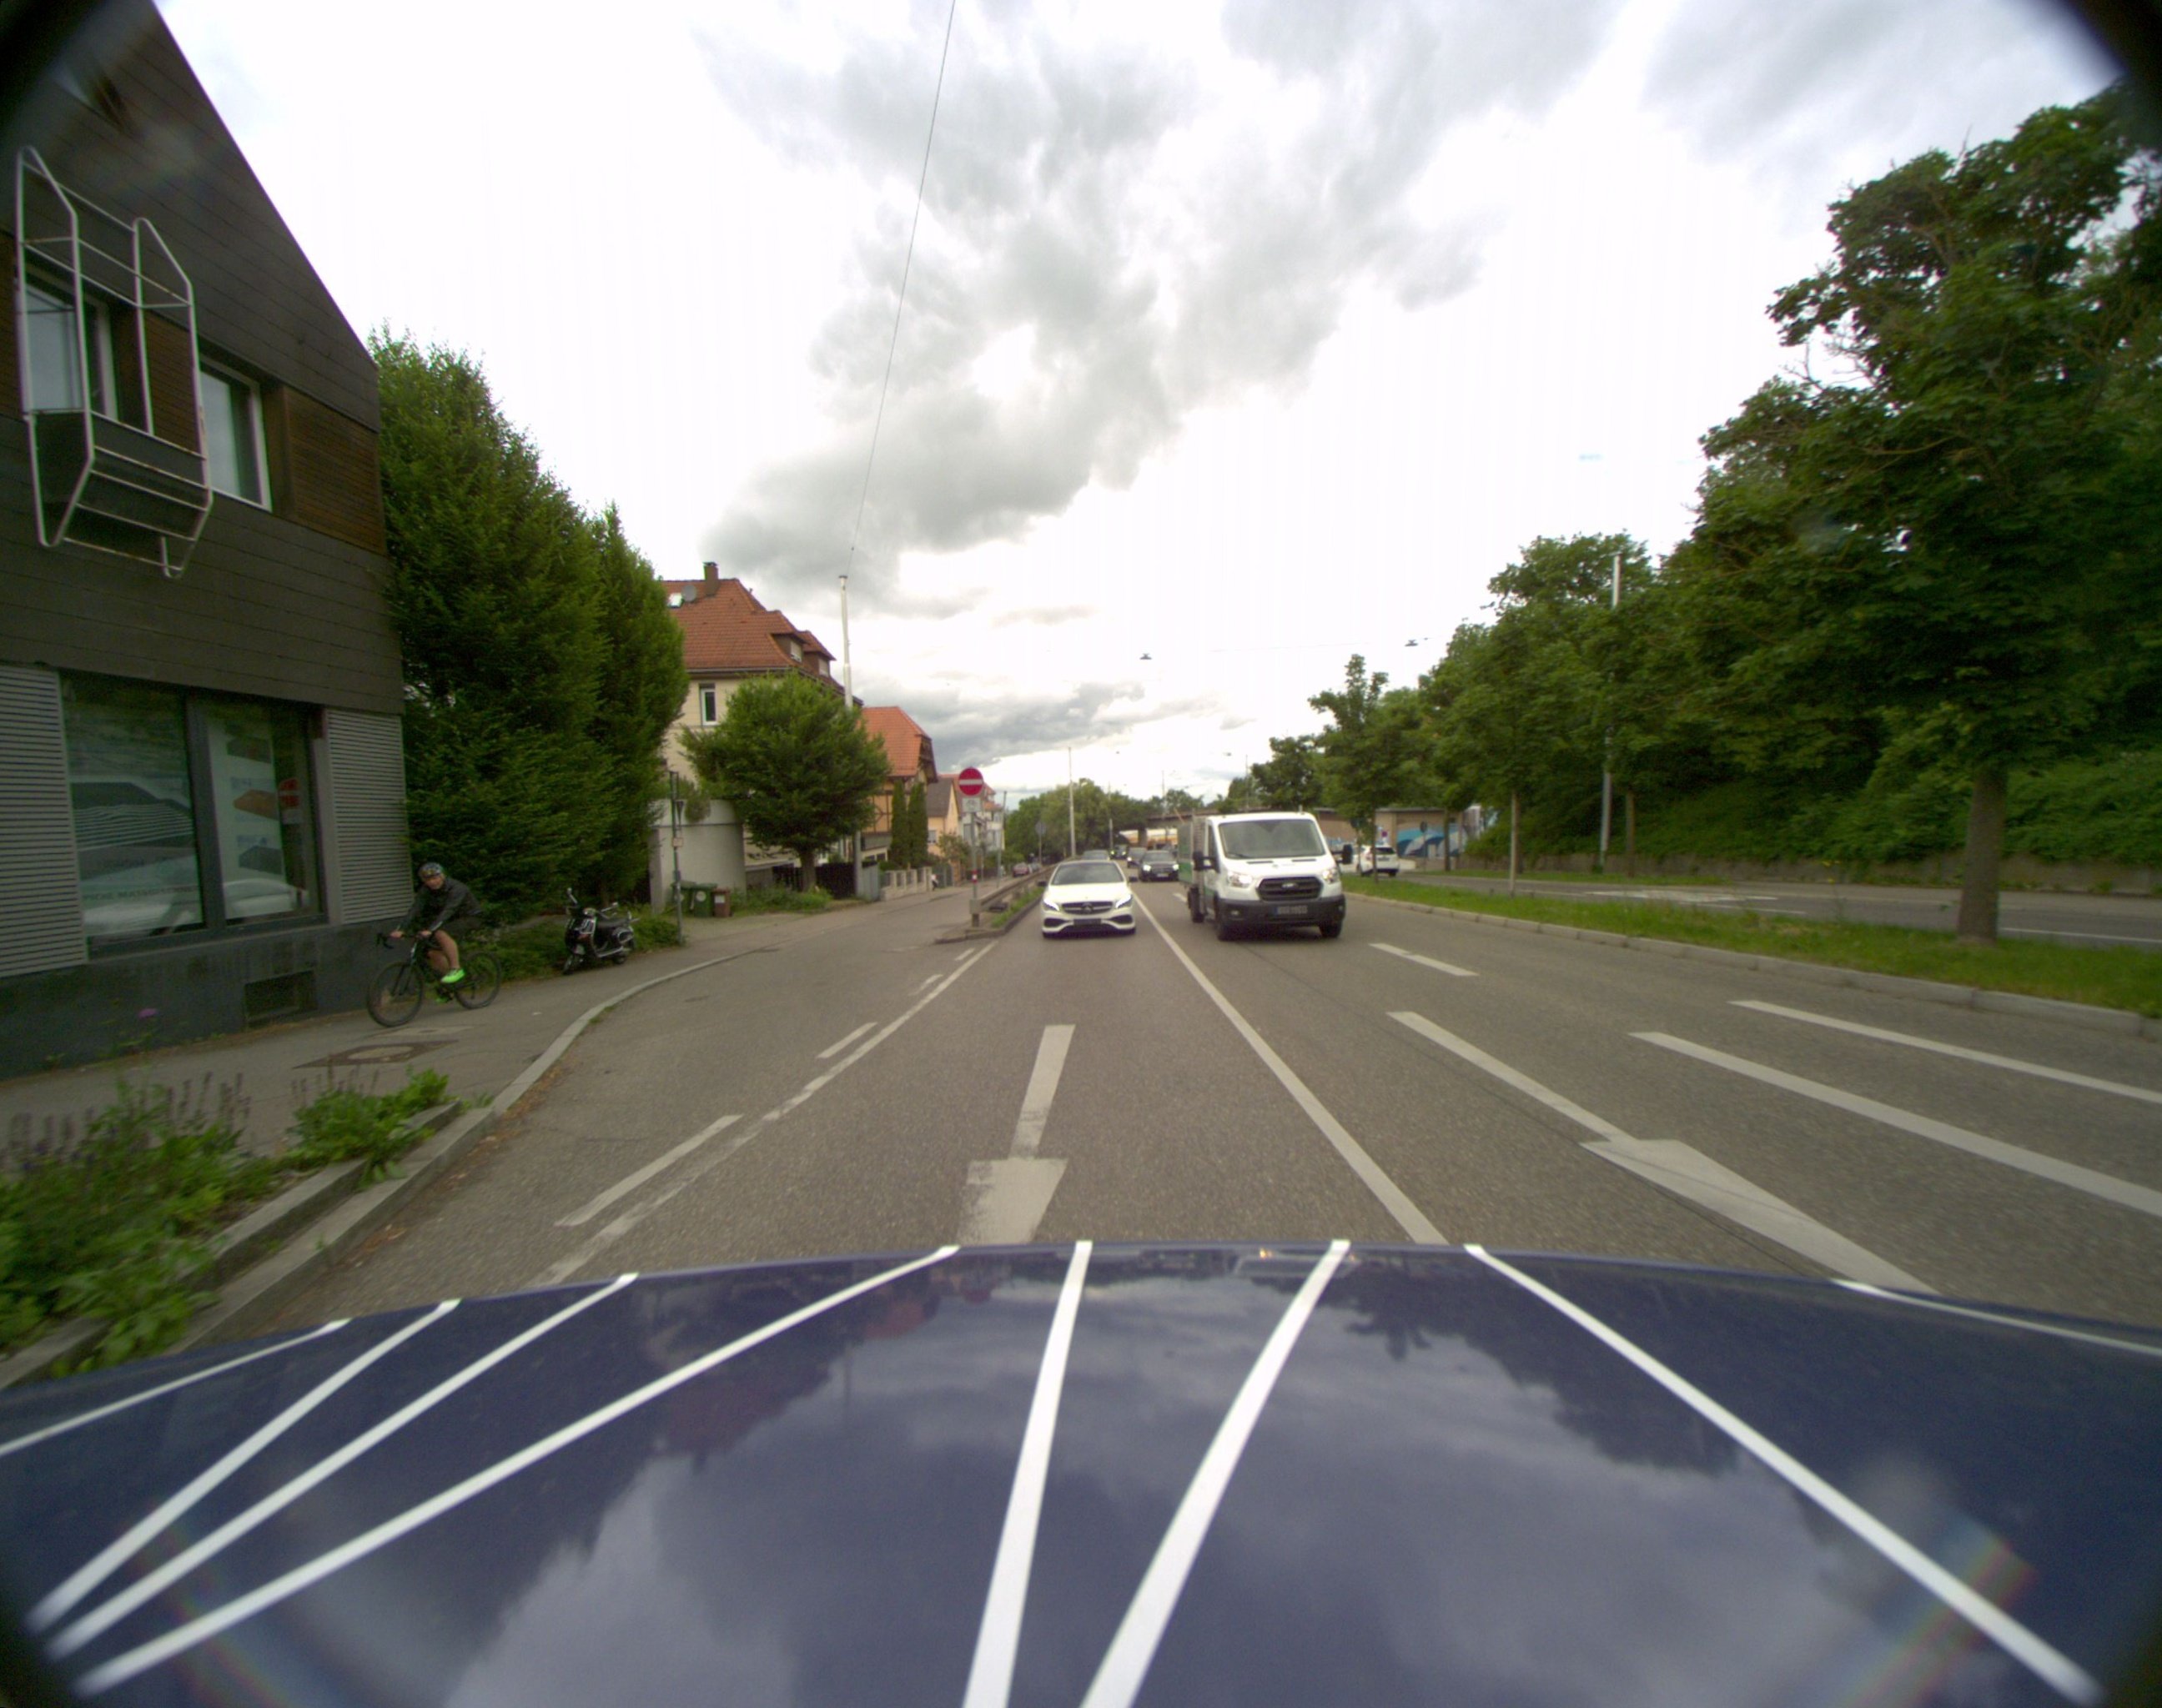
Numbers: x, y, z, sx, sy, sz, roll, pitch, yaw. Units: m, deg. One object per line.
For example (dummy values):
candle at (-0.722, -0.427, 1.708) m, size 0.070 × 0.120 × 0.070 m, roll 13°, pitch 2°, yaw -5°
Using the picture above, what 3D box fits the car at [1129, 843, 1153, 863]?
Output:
car at (4.897, -0.095, 62.230) m, size 1.777 × 1.520 × 4.000 m, roll -1°, pitch 0°, yaw 2°

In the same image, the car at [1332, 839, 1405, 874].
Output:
car at (14.270, 0.127, 37.954) m, size 1.784 × 1.551 × 4.458 m, roll -2°, pitch 0°, yaw -2°

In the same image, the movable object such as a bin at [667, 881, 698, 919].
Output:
movable object such as a bin at (-12.300, 1.414, 23.477) m, size 0.543 × 1.074 × 0.656 m, roll 5°, pitch 0°, yaw 0°

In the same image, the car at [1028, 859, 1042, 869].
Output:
car at (-7.121, 1.570, 117.555) m, size 1.851 × 1.354 × 3.999 m, roll -2°, pitch 0°, yaw -1°

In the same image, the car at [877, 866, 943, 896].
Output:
car at (-10.741, 1.686, 47.690) m, size 3.799 × 1.396 × 1.544 m, roll -7°, pitch 1°, yaw -18°

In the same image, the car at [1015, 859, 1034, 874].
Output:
car at (-6.744, 1.451, 91.229) m, size 1.923 × 1.641 × 4.000 m, roll -3°, pitch 0°, yaw -1°

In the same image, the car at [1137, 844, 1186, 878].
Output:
car at (3.854, 0.343, 37.173) m, size 1.915 × 1.472 × 4.400 m, roll -3°, pitch 0°, yaw 0°

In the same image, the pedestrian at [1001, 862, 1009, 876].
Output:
pedestrian at (-8.672, 1.707, 86.519) m, size 0.713 × 1.462 × 0.695 m, roll -3°, pitch 0°, yaw -1°

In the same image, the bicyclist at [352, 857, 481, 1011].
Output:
bicyclist at (-7.450, 0.854, 8.568) m, size 0.539 × 1.624 × 0.947 m, roll -2°, pitch 0°, yaw 0°

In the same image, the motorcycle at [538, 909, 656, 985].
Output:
motorcycle at (-8.174, 1.539, 12.961) m, size 0.697 × 1.045 × 1.967 m, roll -1°, pitch 0°, yaw 2°

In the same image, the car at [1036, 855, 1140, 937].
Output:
car at (0.197, 0.759, 15.602) m, size 1.817 × 1.390 × 4.000 m, roll -2°, pitch 0°, yaw 2°

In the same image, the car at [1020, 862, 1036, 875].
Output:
car at (-7.015, 1.906, 100.961) m, size 1.923 × 1.490 × 4.000 m, roll -3°, pitch 0°, yaw -1°

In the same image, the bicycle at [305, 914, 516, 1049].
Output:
bicycle at (-7.415, 1.347, 8.565) m, size 0.572 × 1.254 × 2.039 m, roll -1°, pitch -2°, yaw 0°

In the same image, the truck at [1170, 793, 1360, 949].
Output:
truck at (3.155, 0.210, 14.666) m, size 2.080 × 2.308 × 6.330 m, roll -2°, pitch 1°, yaw 0°

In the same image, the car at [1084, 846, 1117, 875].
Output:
car at (1.155, 0.384, 44.586) m, size 1.777 × 1.532 × 4.000 m, roll -3°, pitch 0°, yaw 2°

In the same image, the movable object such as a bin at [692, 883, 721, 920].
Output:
movable object such as a bin at (-11.637, 1.472, 23.643) m, size 0.543 × 1.048 × 0.560 m, roll 5°, pitch 0°, yaw 0°

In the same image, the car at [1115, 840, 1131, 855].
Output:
car at (5.343, -0.816, 96.624) m, size 1.776 × 1.783 × 4.002 m, roll -1°, pitch 0°, yaw 7°

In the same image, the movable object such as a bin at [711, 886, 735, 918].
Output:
movable object such as a bin at (-11.157, 1.501, 23.697) m, size 0.453 × 0.934 × 0.560 m, roll 2°, pitch 0°, yaw 0°
